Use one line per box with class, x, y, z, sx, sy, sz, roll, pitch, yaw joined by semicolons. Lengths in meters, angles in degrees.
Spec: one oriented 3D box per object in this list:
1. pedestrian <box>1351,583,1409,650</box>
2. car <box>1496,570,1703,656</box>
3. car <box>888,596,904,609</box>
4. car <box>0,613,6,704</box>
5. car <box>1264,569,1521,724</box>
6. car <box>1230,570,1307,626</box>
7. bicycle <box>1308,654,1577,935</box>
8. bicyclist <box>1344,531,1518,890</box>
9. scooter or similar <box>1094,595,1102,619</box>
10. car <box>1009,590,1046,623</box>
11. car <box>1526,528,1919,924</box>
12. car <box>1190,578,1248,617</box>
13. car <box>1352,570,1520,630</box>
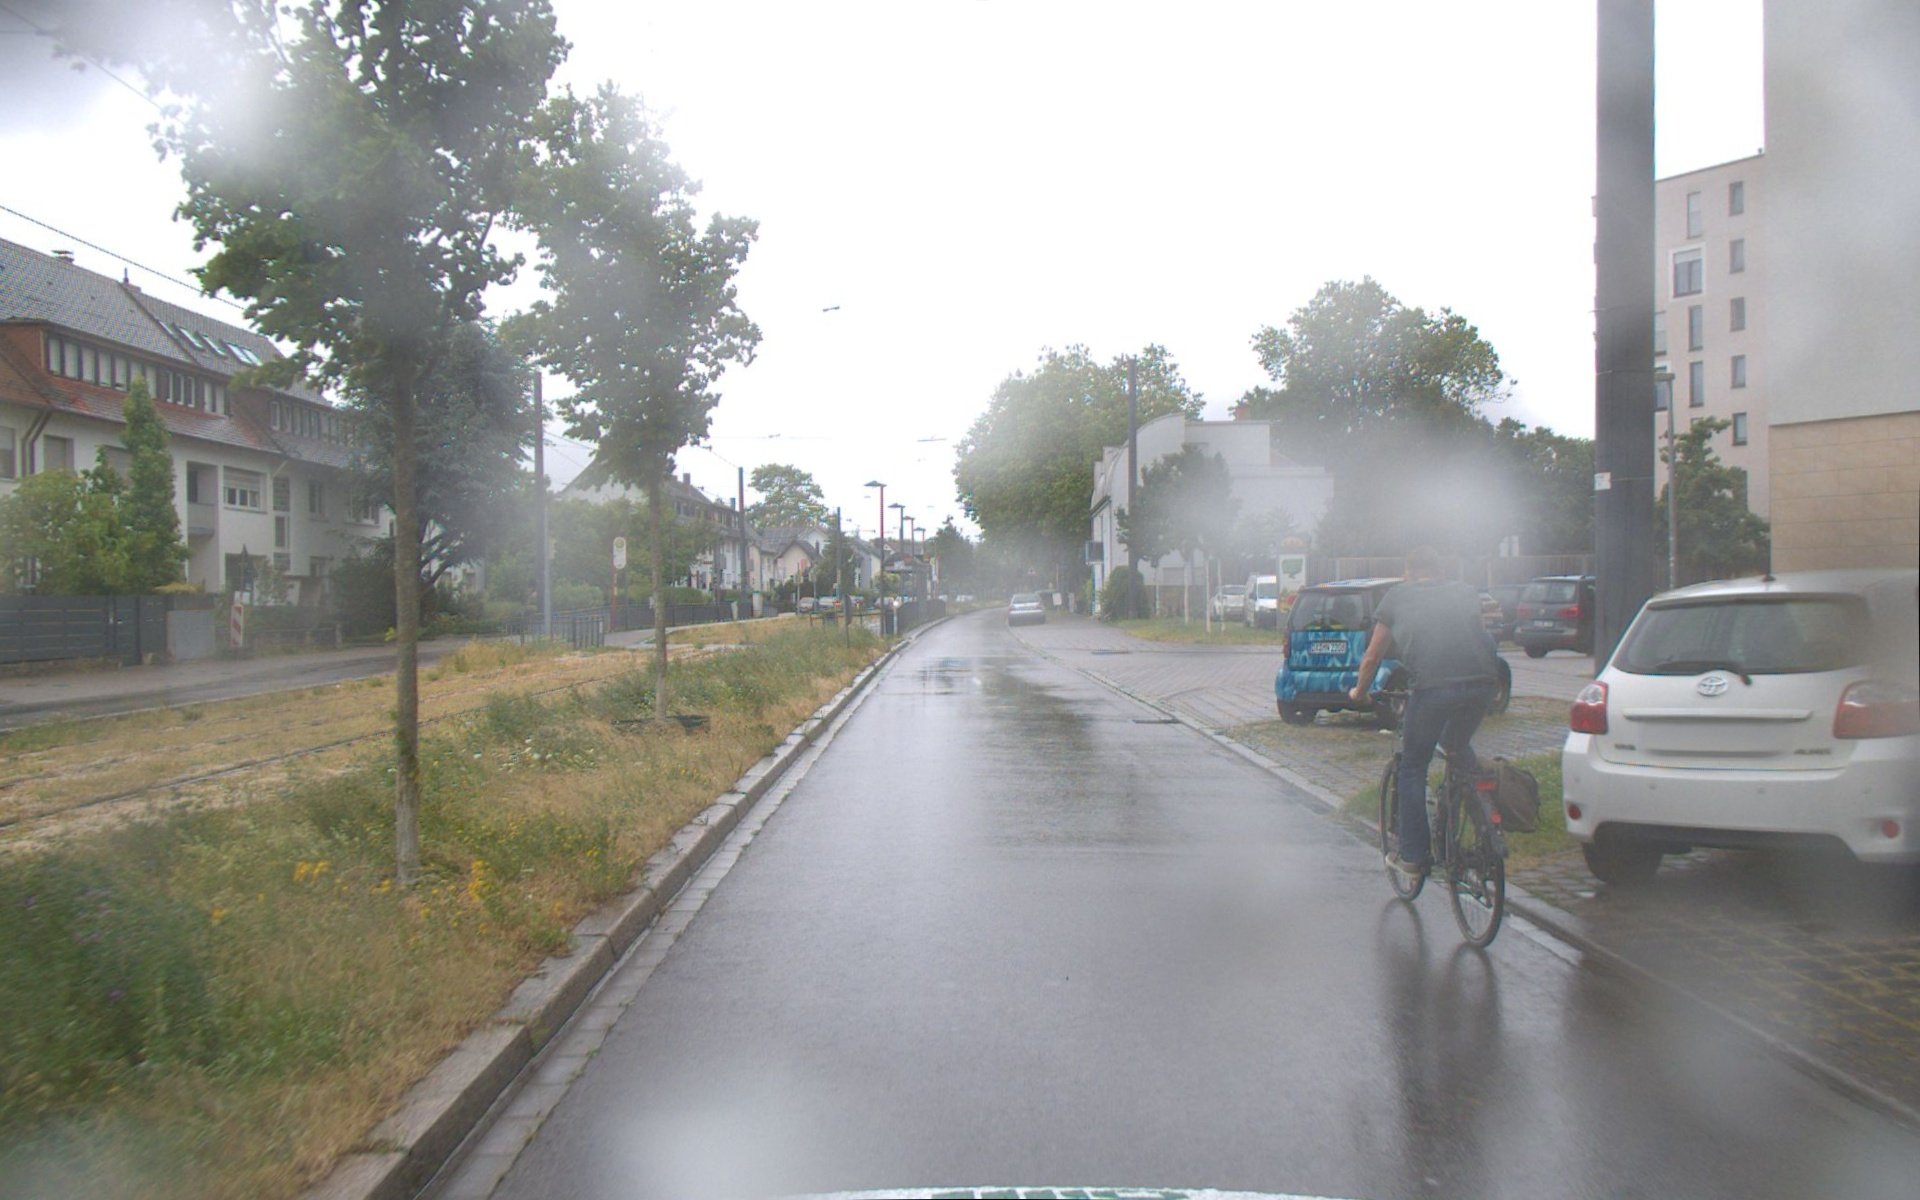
pedestrian;9.961;0.391;39.244;0.826;1.544;1.084;1;-1;-29
car;12.884;0.244;33.292;4.058;1.645;1.796;0;1;-31
car;-7.360;0.271;190.946;1.599;1.519;4.001;0;-1;2
car;-16.119;0.908;24.484;1.953;1.438;3.656;0;-1;-2
car;4.796;0.470;18.257;2.542;1.575;1.579;-1;0;-41
car;10.394;-0.085;56.050;1.922;1.815;4.899;0;1;3
bicycle;2.197;0.831;7.796;0.526;1.112;1.946;0;-1;-6
bicyclist;2.187;0.493;7.742;0.524;1.587;0.771;0;-1;-7
scooter or similar;6.466;0.348;77.538;0.326;1.104;1.396;0;-1;6
car;3.189;0.344;79.080;1.616;1.430;4.650;-4;-1;2
car;4.951;0.445;8.891;4.149;1.574;1.739;-5;2;-41
car;10.666;-0.138;68.405;1.922;1.561;4.365;0;1;3
car;12.136;0.019;42.382;1.971;1.466;3.963;0;-1;-28
